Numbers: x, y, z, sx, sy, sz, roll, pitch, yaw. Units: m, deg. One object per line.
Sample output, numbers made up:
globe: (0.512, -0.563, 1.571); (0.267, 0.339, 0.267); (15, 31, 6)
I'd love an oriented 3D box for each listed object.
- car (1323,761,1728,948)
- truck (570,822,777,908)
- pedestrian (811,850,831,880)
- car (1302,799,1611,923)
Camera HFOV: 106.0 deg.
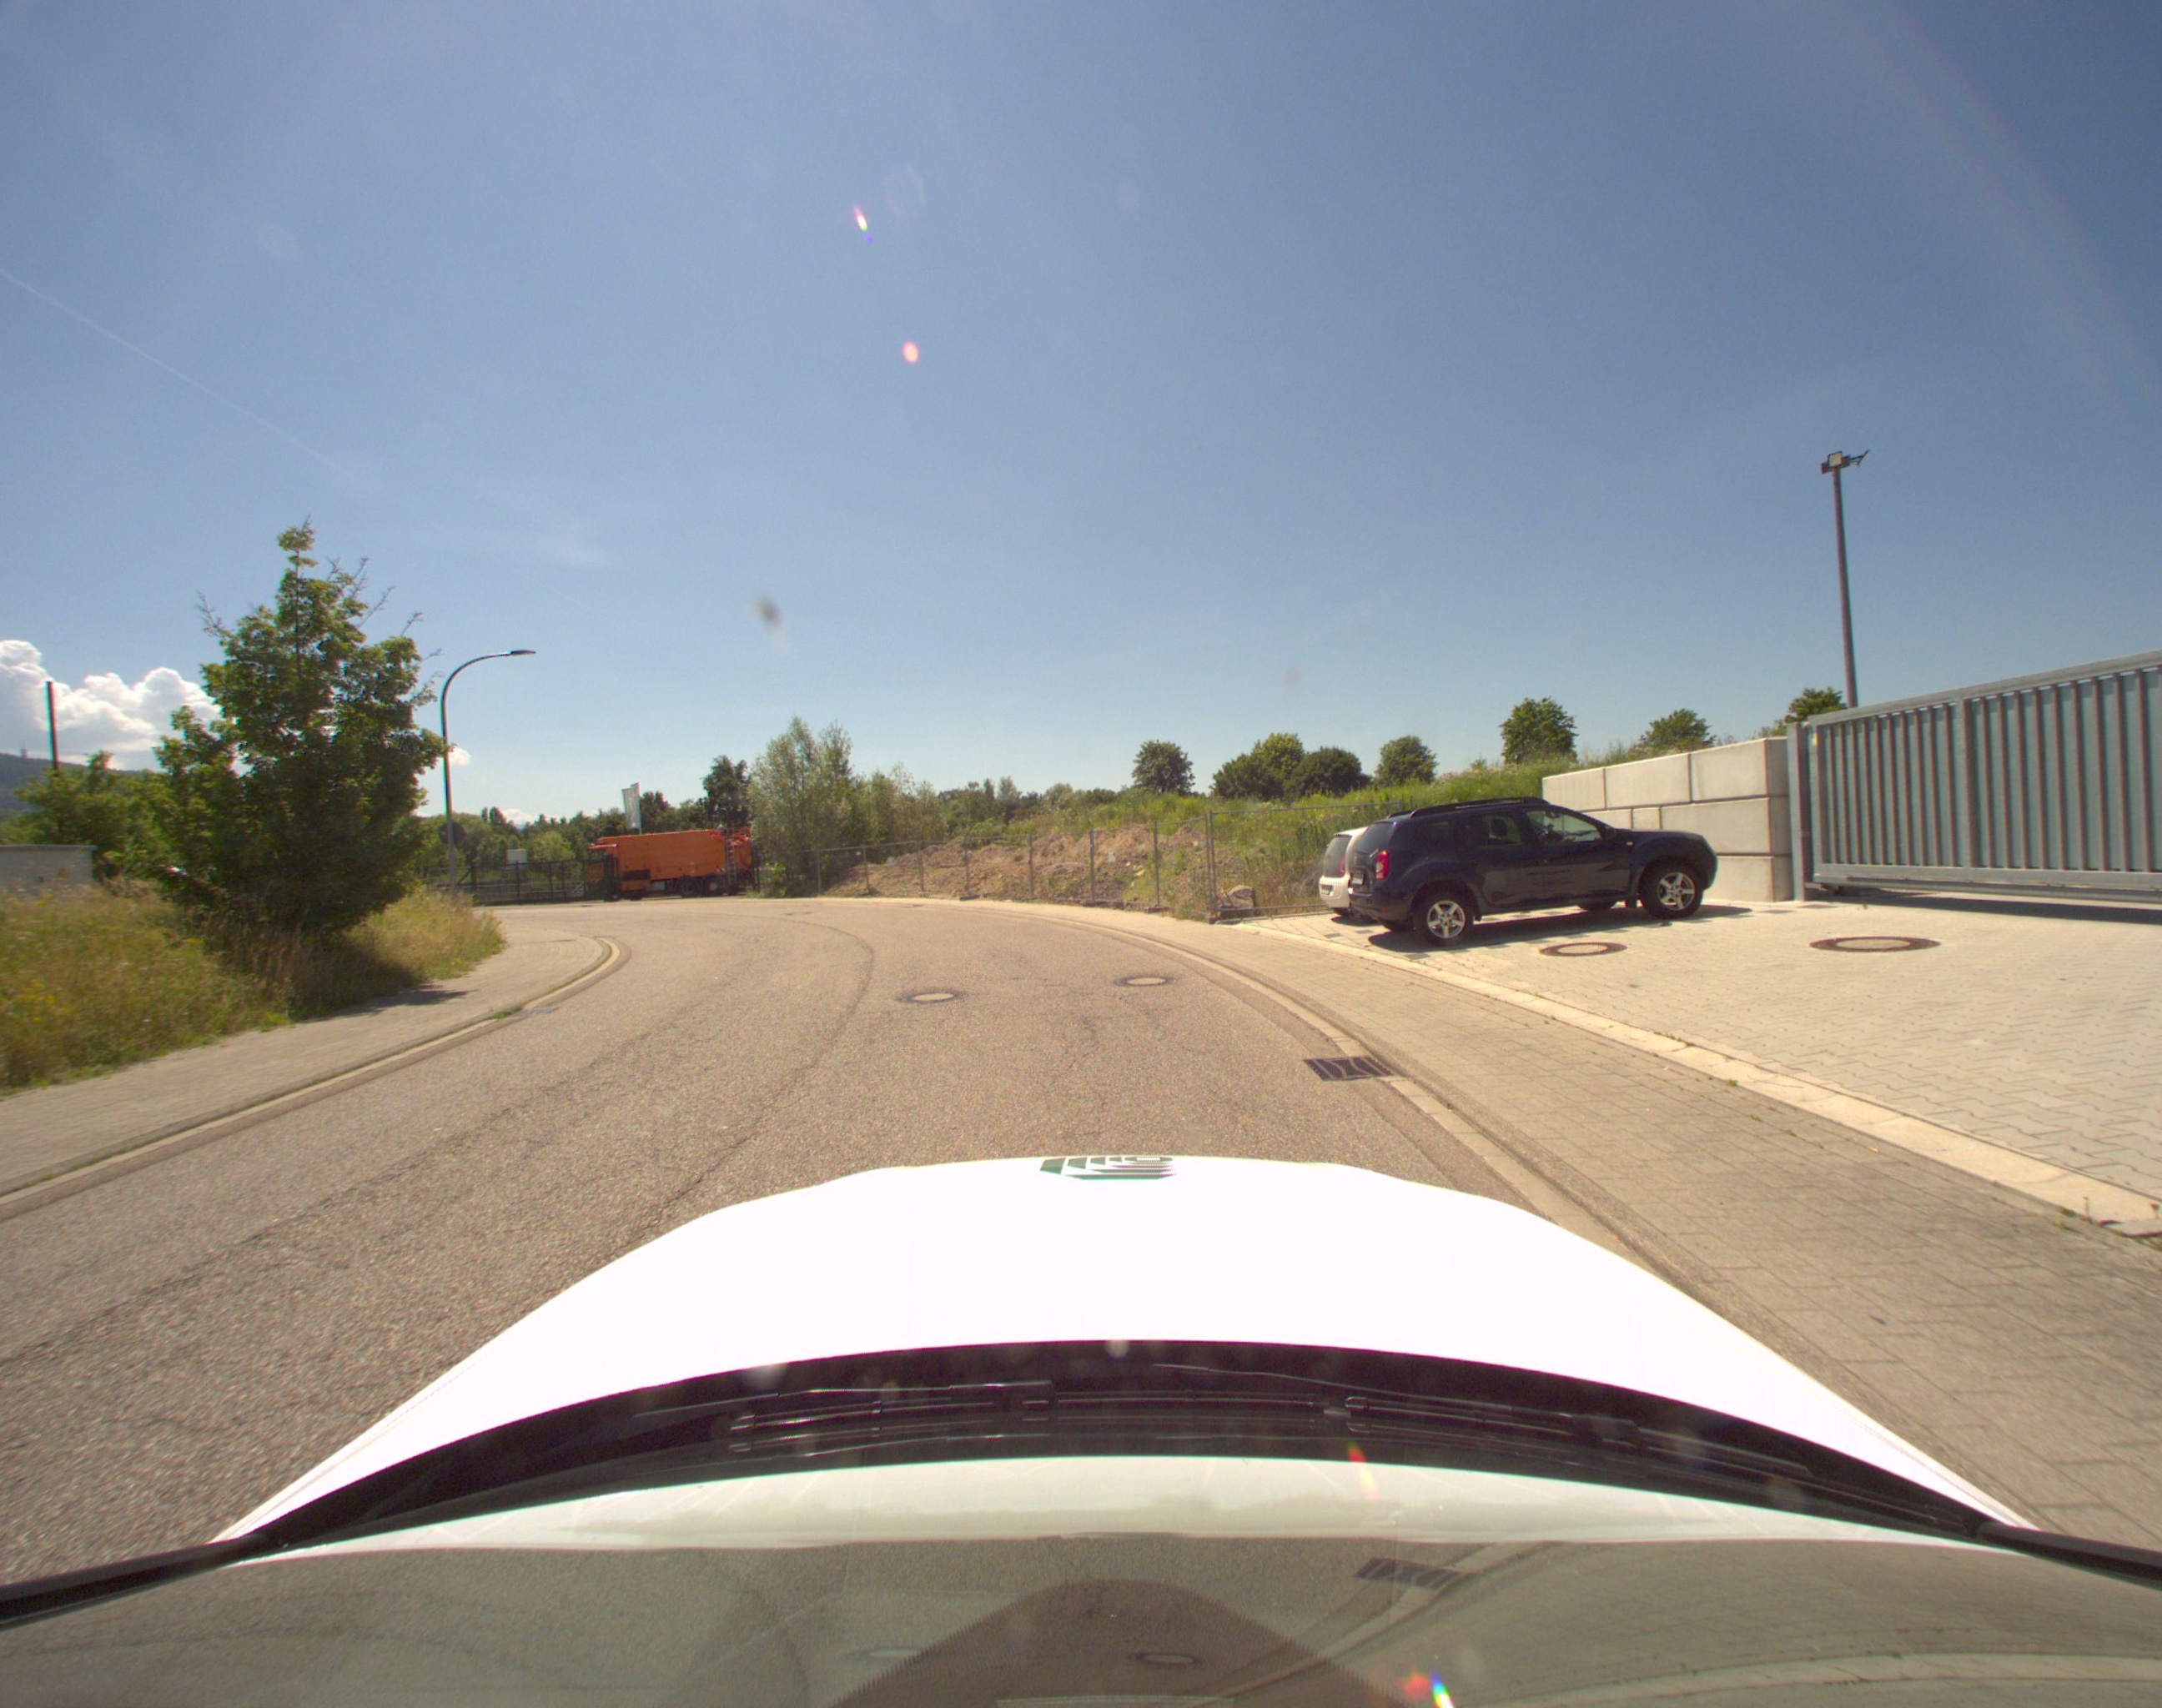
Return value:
car: (5.405, 0.009, 10.375); (3.993, 1.655, 1.860); (-8, 0, 3)
truck: (-21.264, 0.494, 43.068); (8.554, 3.805, 4.165); (-4, 1, 0)
pedestrian: (-16.081, 0.666, 50.370); (0.872, 1.824, 0.740); (-2, 1, 3)
car: (5.798, 0.099, 13.013); (3.993, 1.461, 1.894); (-6, 0, 3)
